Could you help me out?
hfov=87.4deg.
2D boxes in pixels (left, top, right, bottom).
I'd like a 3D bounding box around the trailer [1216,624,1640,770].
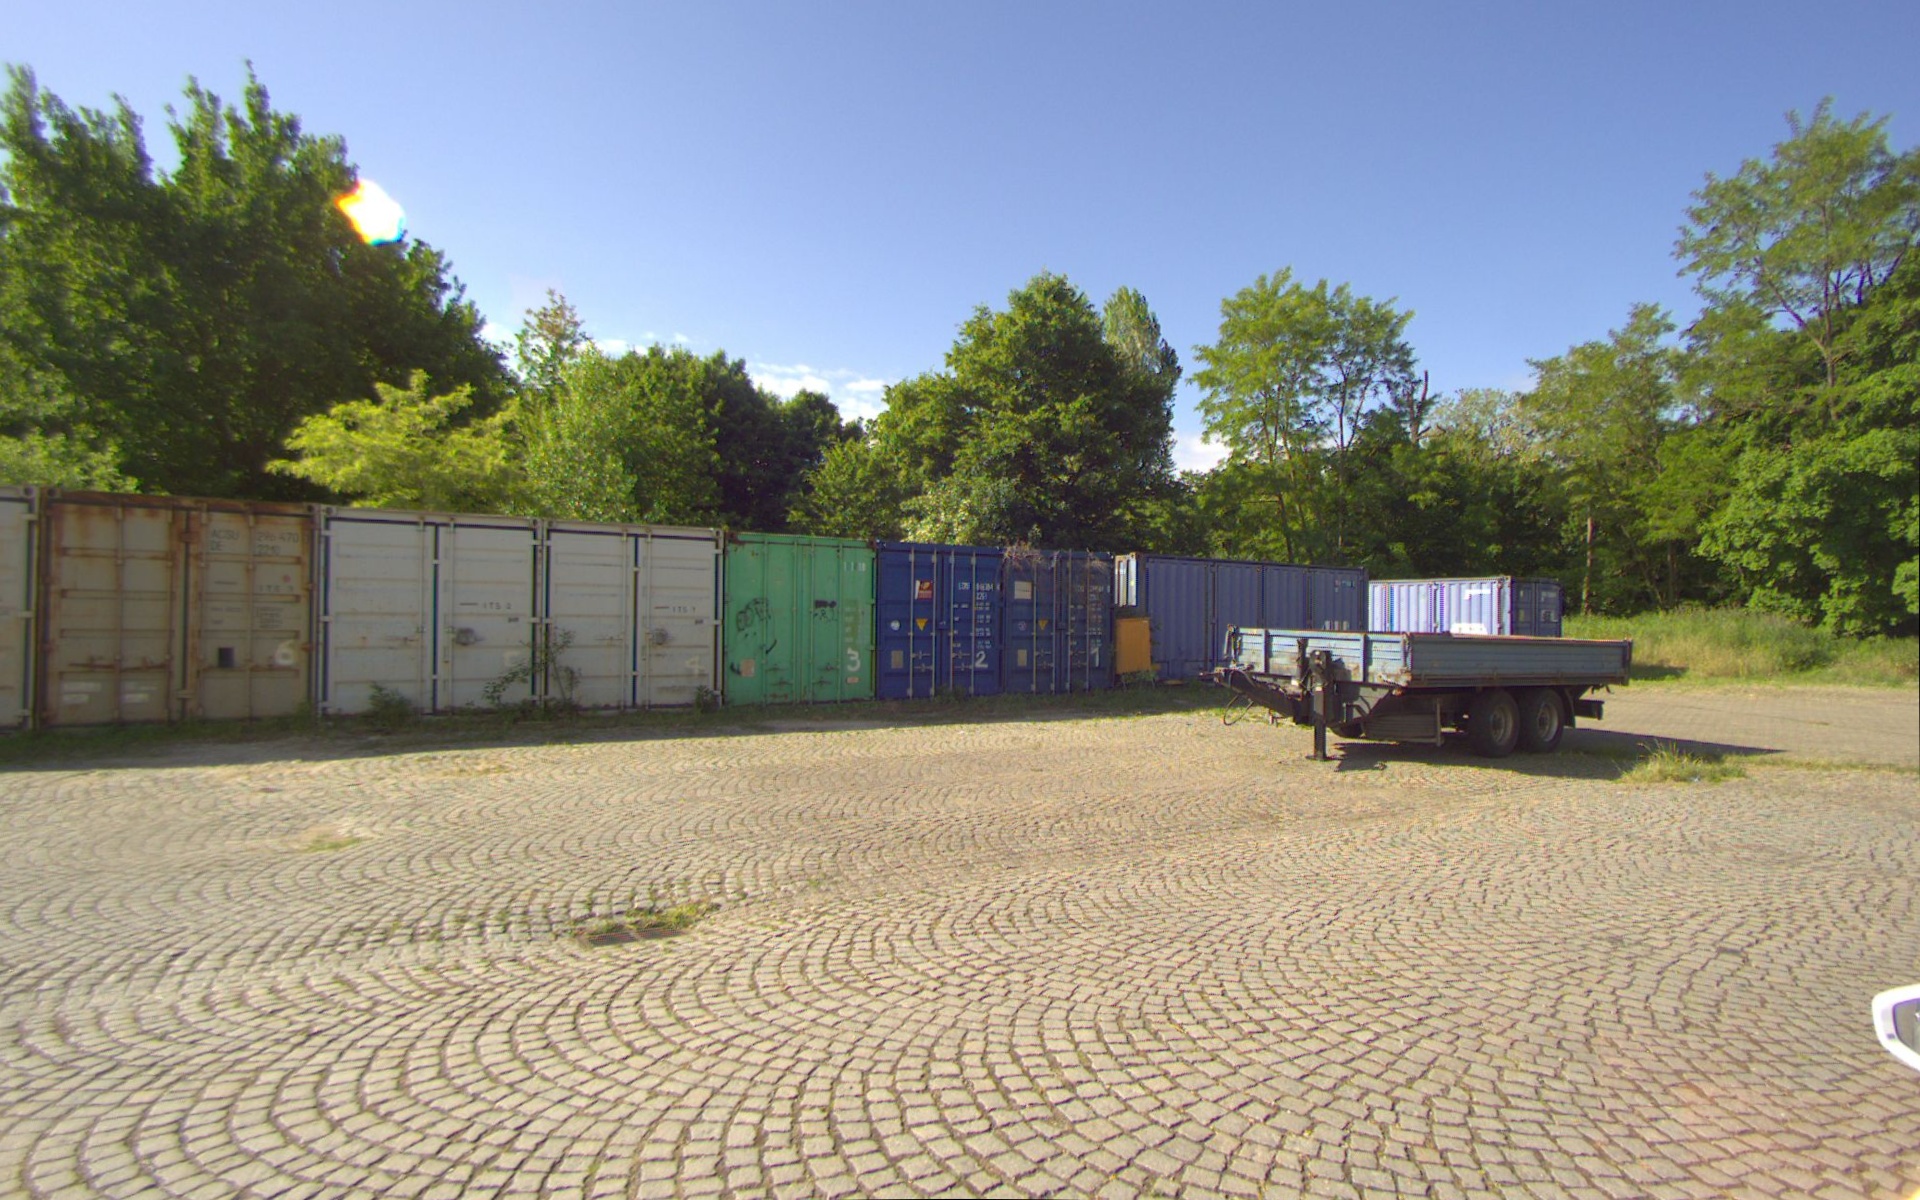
[{"bbox_3d":[5.902,1.089,12.615,4.807,1.433,2.627,2,-1,-31],"label":"trailer"}]
